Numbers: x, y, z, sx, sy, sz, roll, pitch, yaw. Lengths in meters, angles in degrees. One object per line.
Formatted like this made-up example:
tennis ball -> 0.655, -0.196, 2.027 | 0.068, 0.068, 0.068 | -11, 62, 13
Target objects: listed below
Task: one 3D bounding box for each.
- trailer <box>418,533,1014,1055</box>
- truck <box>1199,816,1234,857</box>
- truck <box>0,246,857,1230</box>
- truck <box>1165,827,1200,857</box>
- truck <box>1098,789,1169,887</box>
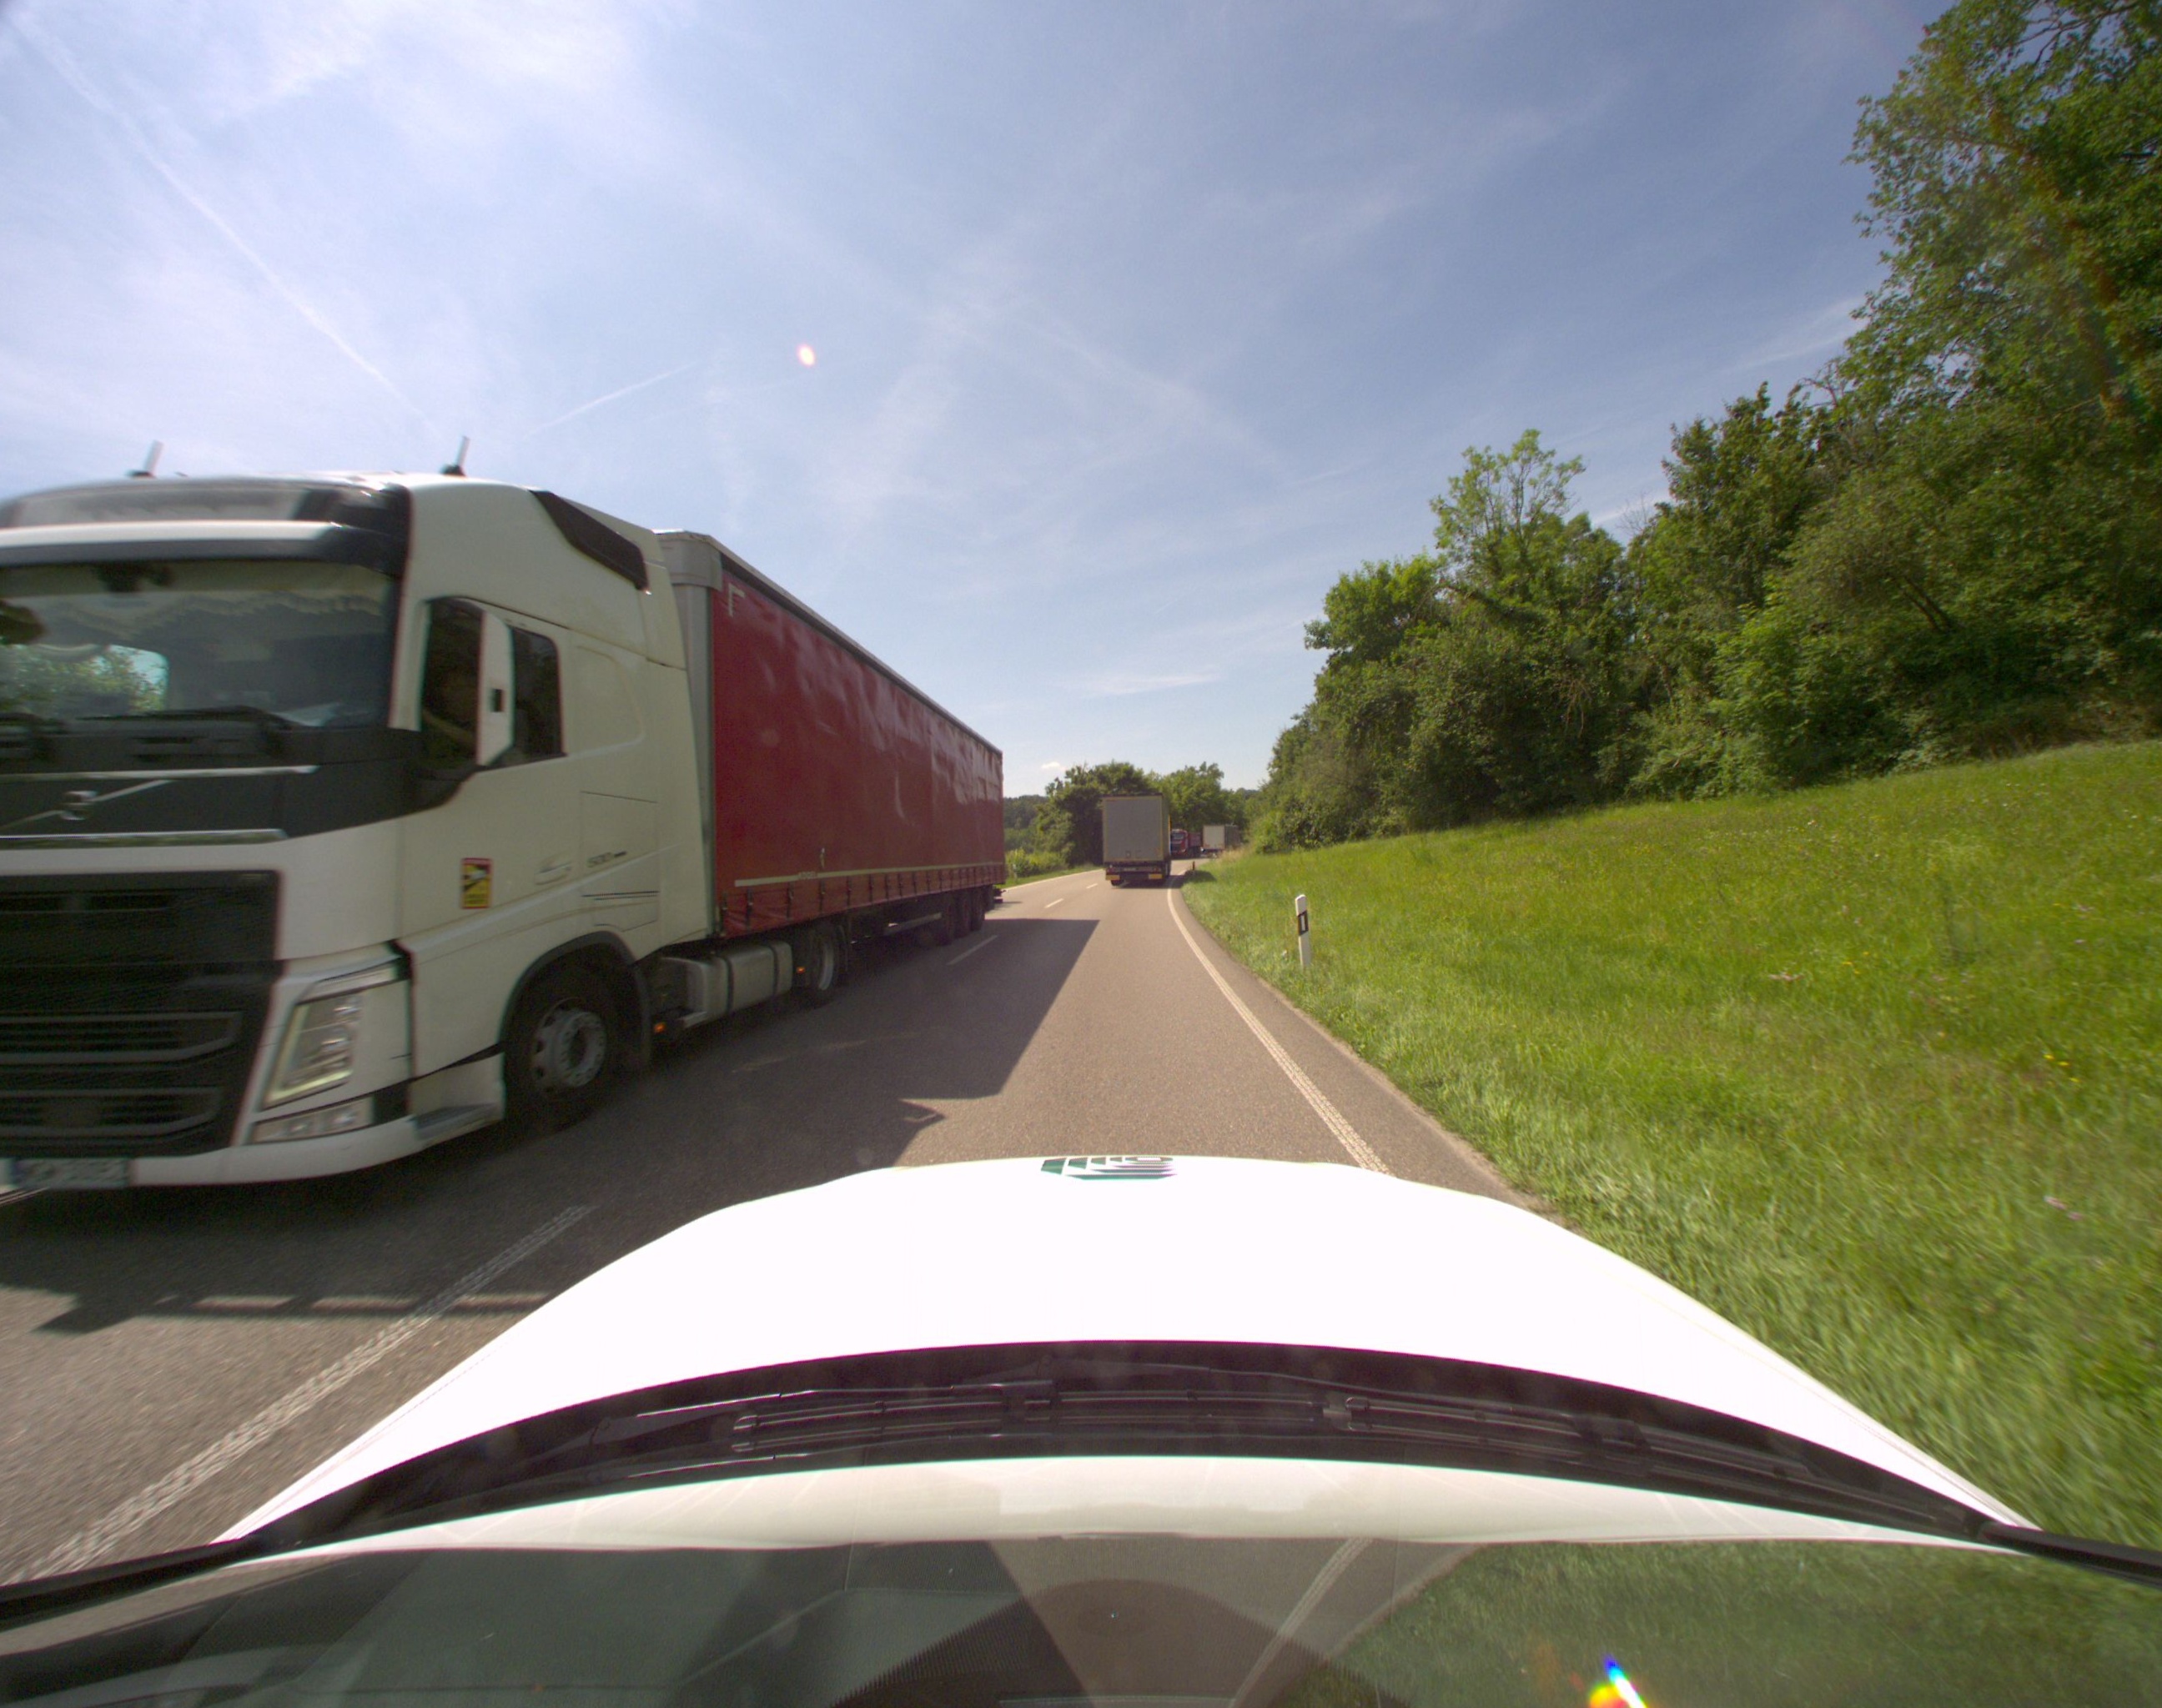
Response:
trailer -> -3.523, -0.476, 13.355 | 2.556, 4.108, 13.679 | -2, 0, 5
truck -> 17.437, -2.355, 103.718 | 3.083, 4.705, 16.651 | -2, 1, 13
truck -> -4.078, -0.461, 6.373 | 2.547, 4.115, 5.807 | -2, 0, 4
truck -> 12.891, -1.442, 102.108 | 2.533, 3.452, 12.685 | -2, 0, 15
truck -> 3.007, -0.699, 41.559 | 2.787, 4.068, 15.354 | 0, 0, 7
